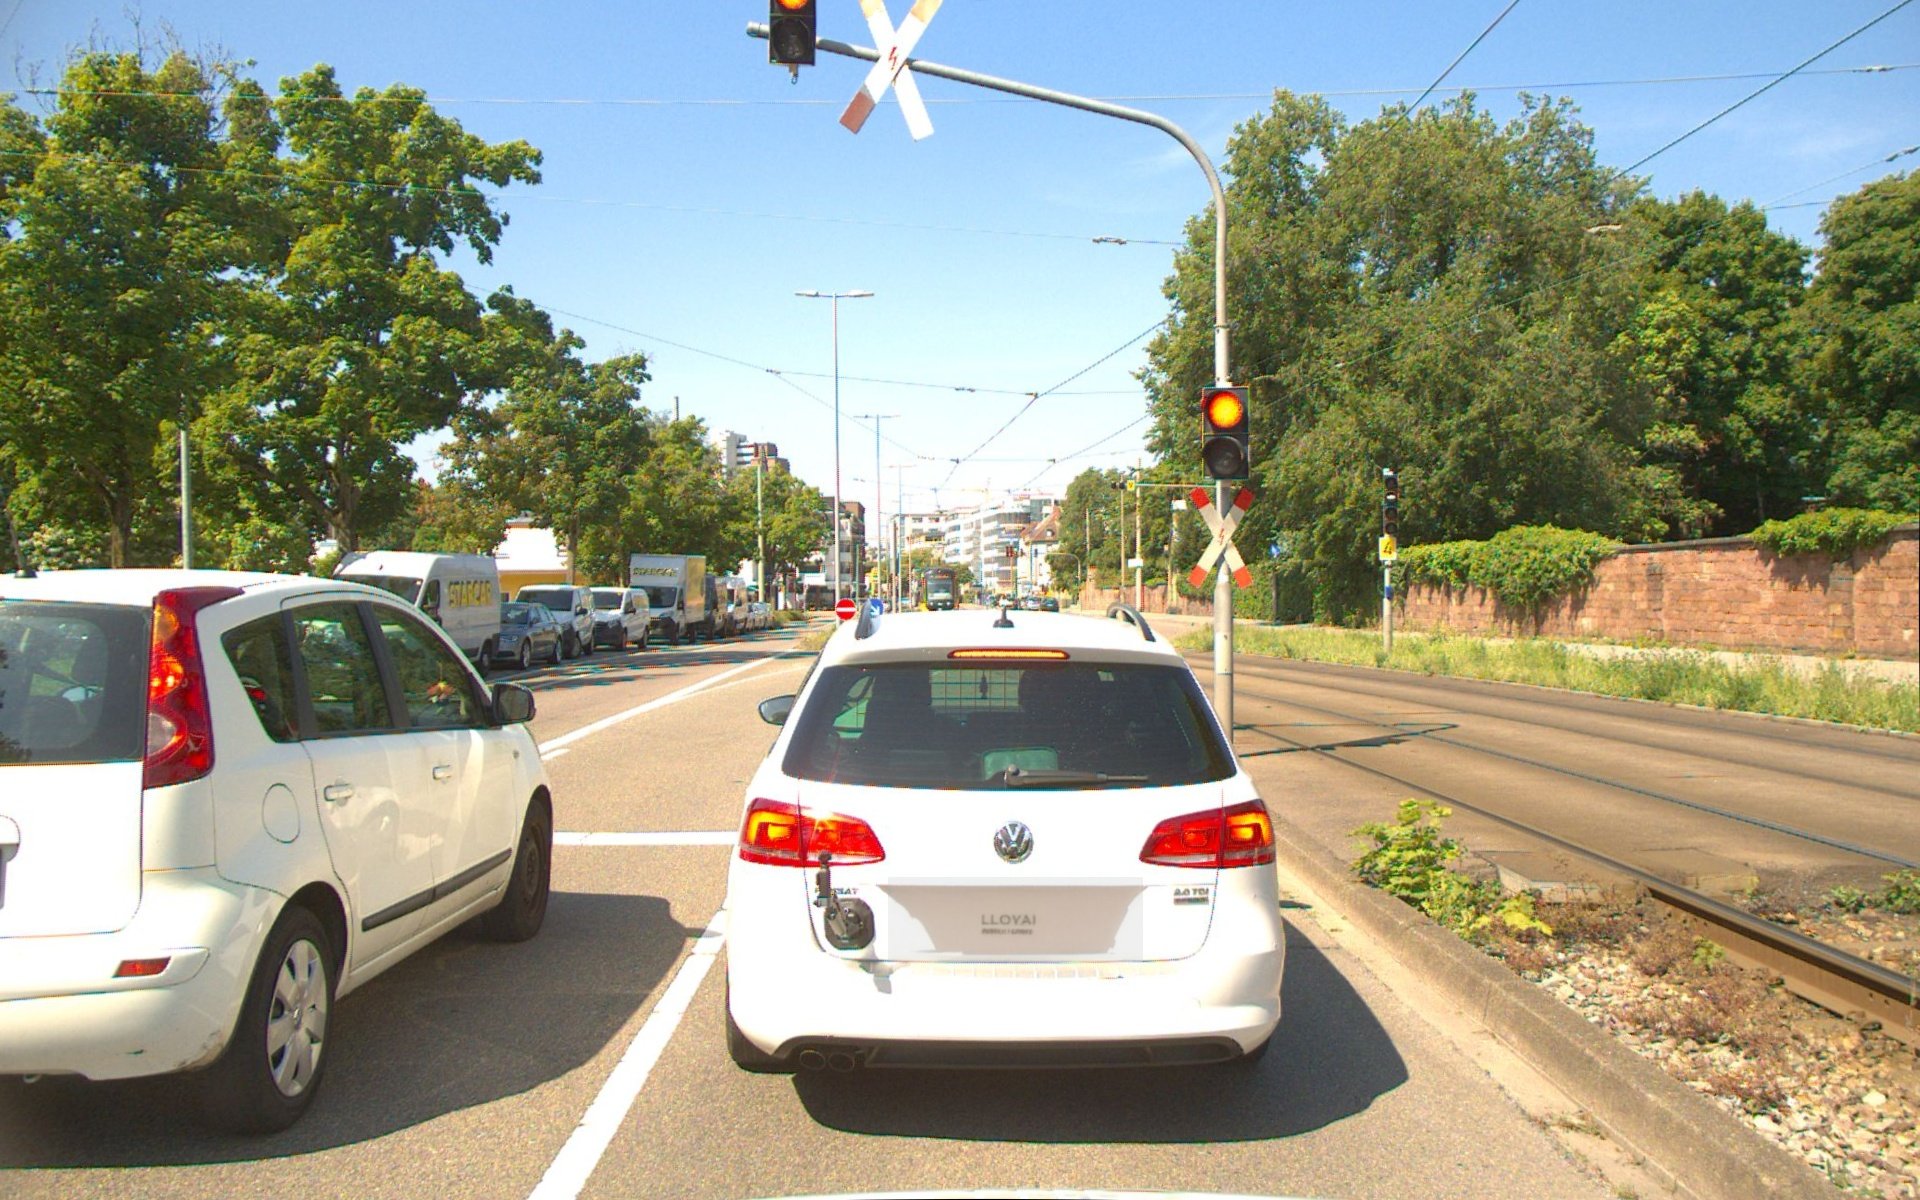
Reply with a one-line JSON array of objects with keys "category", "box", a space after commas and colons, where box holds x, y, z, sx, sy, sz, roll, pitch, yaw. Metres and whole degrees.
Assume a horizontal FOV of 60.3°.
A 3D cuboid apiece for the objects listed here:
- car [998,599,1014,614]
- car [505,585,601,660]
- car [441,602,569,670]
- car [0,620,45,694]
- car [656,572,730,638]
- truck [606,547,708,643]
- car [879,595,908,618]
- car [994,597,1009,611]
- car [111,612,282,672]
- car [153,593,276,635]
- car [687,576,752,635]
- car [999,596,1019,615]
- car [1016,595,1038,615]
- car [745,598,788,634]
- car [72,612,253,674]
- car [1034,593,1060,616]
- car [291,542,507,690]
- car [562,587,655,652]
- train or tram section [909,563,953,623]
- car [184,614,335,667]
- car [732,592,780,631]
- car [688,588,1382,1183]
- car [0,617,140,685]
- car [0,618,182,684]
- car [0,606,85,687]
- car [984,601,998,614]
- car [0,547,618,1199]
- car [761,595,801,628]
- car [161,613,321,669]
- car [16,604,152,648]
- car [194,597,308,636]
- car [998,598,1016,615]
[{"category": "car", "box": [5.988, 0.833, 215.758, 1.826, 1.900, 5.060, 1, 0, -2]}, {"category": "car", "box": [-11.020, 0.562, 45.128, 1.827, 1.900, 5.068, 1, 0, -6]}, {"category": "car", "box": [-10.518, 0.789, 38.537, 1.826, 1.440, 4.278, 1, 0, -1]}, {"category": "car", "box": [-20.693, 1.202, 32.929, 3.909, 1.440, 1.728, -2, -1, -5]}, {"category": "car", "box": [-10.945, 0.193, 68.146, 2.079, 2.560, 5.733, 1, 0, 0]}, {"category": "truck", "box": [-10.906, -0.184, 60.148, 2.371, 3.205, 6.996, 1, 0, 0]}, {"category": "car", "box": [-4.482, 0.406, 111.814, 1.670, 1.499, 4.589, -1, 0, 0]}, {"category": "car", "box": [5.927, 0.614, 236.119, 1.826, 1.900, 5.060, 1, 0, -2]}, {"category": "car", "box": [-21.239, 1.154, 46.117, 3.909, 1.440, 1.728, -2, -1, -5]}, {"category": "car", "box": [-34.417, 0.640, 76.463, 4.698, 1.819, 2.062, 1, 0, -5]}, {"category": "car", "box": [-10.917, 0.237, 75.582, 2.079, 2.560, 5.733, 1, 0, 0]}, {"category": "car", "box": [5.224, 0.567, 177.338, 1.826, 1.900, 5.060, 1, 0, -2]}, {"category": "car", "box": [6.505, 0.476, 160.690, 1.826, 1.900, 5.060, 1, 0, -2]}, {"category": "car", "box": [-10.680, 0.850, 91.506, 1.826, 1.900, 5.412, 1, 0, -1]}, {"category": "car", "box": [-21.063, 1.119, 43.789, 3.909, 1.440, 1.728, -2, -1, -5]}, {"category": "car", "box": [7.577, 0.386, 144.831, 1.826, 1.900, 5.060, 1, 0, -2]}, {"category": "car", "box": [-10.705, 0.273, 32.128, 2.079, 2.560, 5.817, 1, 0, 1]}, {"category": "car", "box": [-10.911, 0.563, 51.723, 1.826, 1.900, 5.412, 1, 0, -1]}, {"category": "train or tram section", "box": [-1.990, -0.482, 115.365, 2.812, 3.923, 12.389, -1, 0, -1]}, {"category": "car", "box": [-21.657, 1.232, 51.226, 3.909, 1.440, 1.728, -2, -1, -5]}, {"category": "car", "box": [-10.412, 0.573, 84.696, 1.826, 1.900, 5.412, 1, 0, -1]}, {"category": "car", "box": [0.166, 0.710, 6.178, 1.726, 1.455, 3.999, -1, 0, -1]}, {"category": "car", "box": [-21.573, 1.202, 38.640, 3.909, 1.440, 1.728, -2, -1, -5]}, {"category": "car", "box": [-21.783, 1.262, 41.239, 3.909, 1.440, 1.728, -2, -1, -5]}, {"category": "car", "box": [-21.036, 1.044, 35.123, 3.909, 1.638, 1.728, -2, -1, -5]}, {"category": "car", "box": [4.670, 1.155, 250.866, 1.826, 1.900, 5.060, 1, 0, -2]}, {"category": "car", "box": [-2.570, 0.654, 6.176, 1.628, 1.575, 4.546, 0, 0, 0]}, {"category": "car", "box": [-10.618, 0.669, 98.424, 1.826, 1.900, 5.412, 1, 0, -1]}, {"category": "car", "box": [-21.226, 1.203, 48.935, 3.909, 1.440, 1.728, -2, -1, -5]}, {"category": "car", "box": [-37.746, 1.109, 71.394, 4.698, 1.819, 2.062, 1, 0, -5]}, {"category": "car", "box": [-34.823, 0.819, 81.315, 4.698, 1.819, 2.062, 1, 0, -5]}, {"category": "car", "box": [5.465, 0.704, 193.216, 1.826, 1.900, 5.060, 1, 0, -2]}]
